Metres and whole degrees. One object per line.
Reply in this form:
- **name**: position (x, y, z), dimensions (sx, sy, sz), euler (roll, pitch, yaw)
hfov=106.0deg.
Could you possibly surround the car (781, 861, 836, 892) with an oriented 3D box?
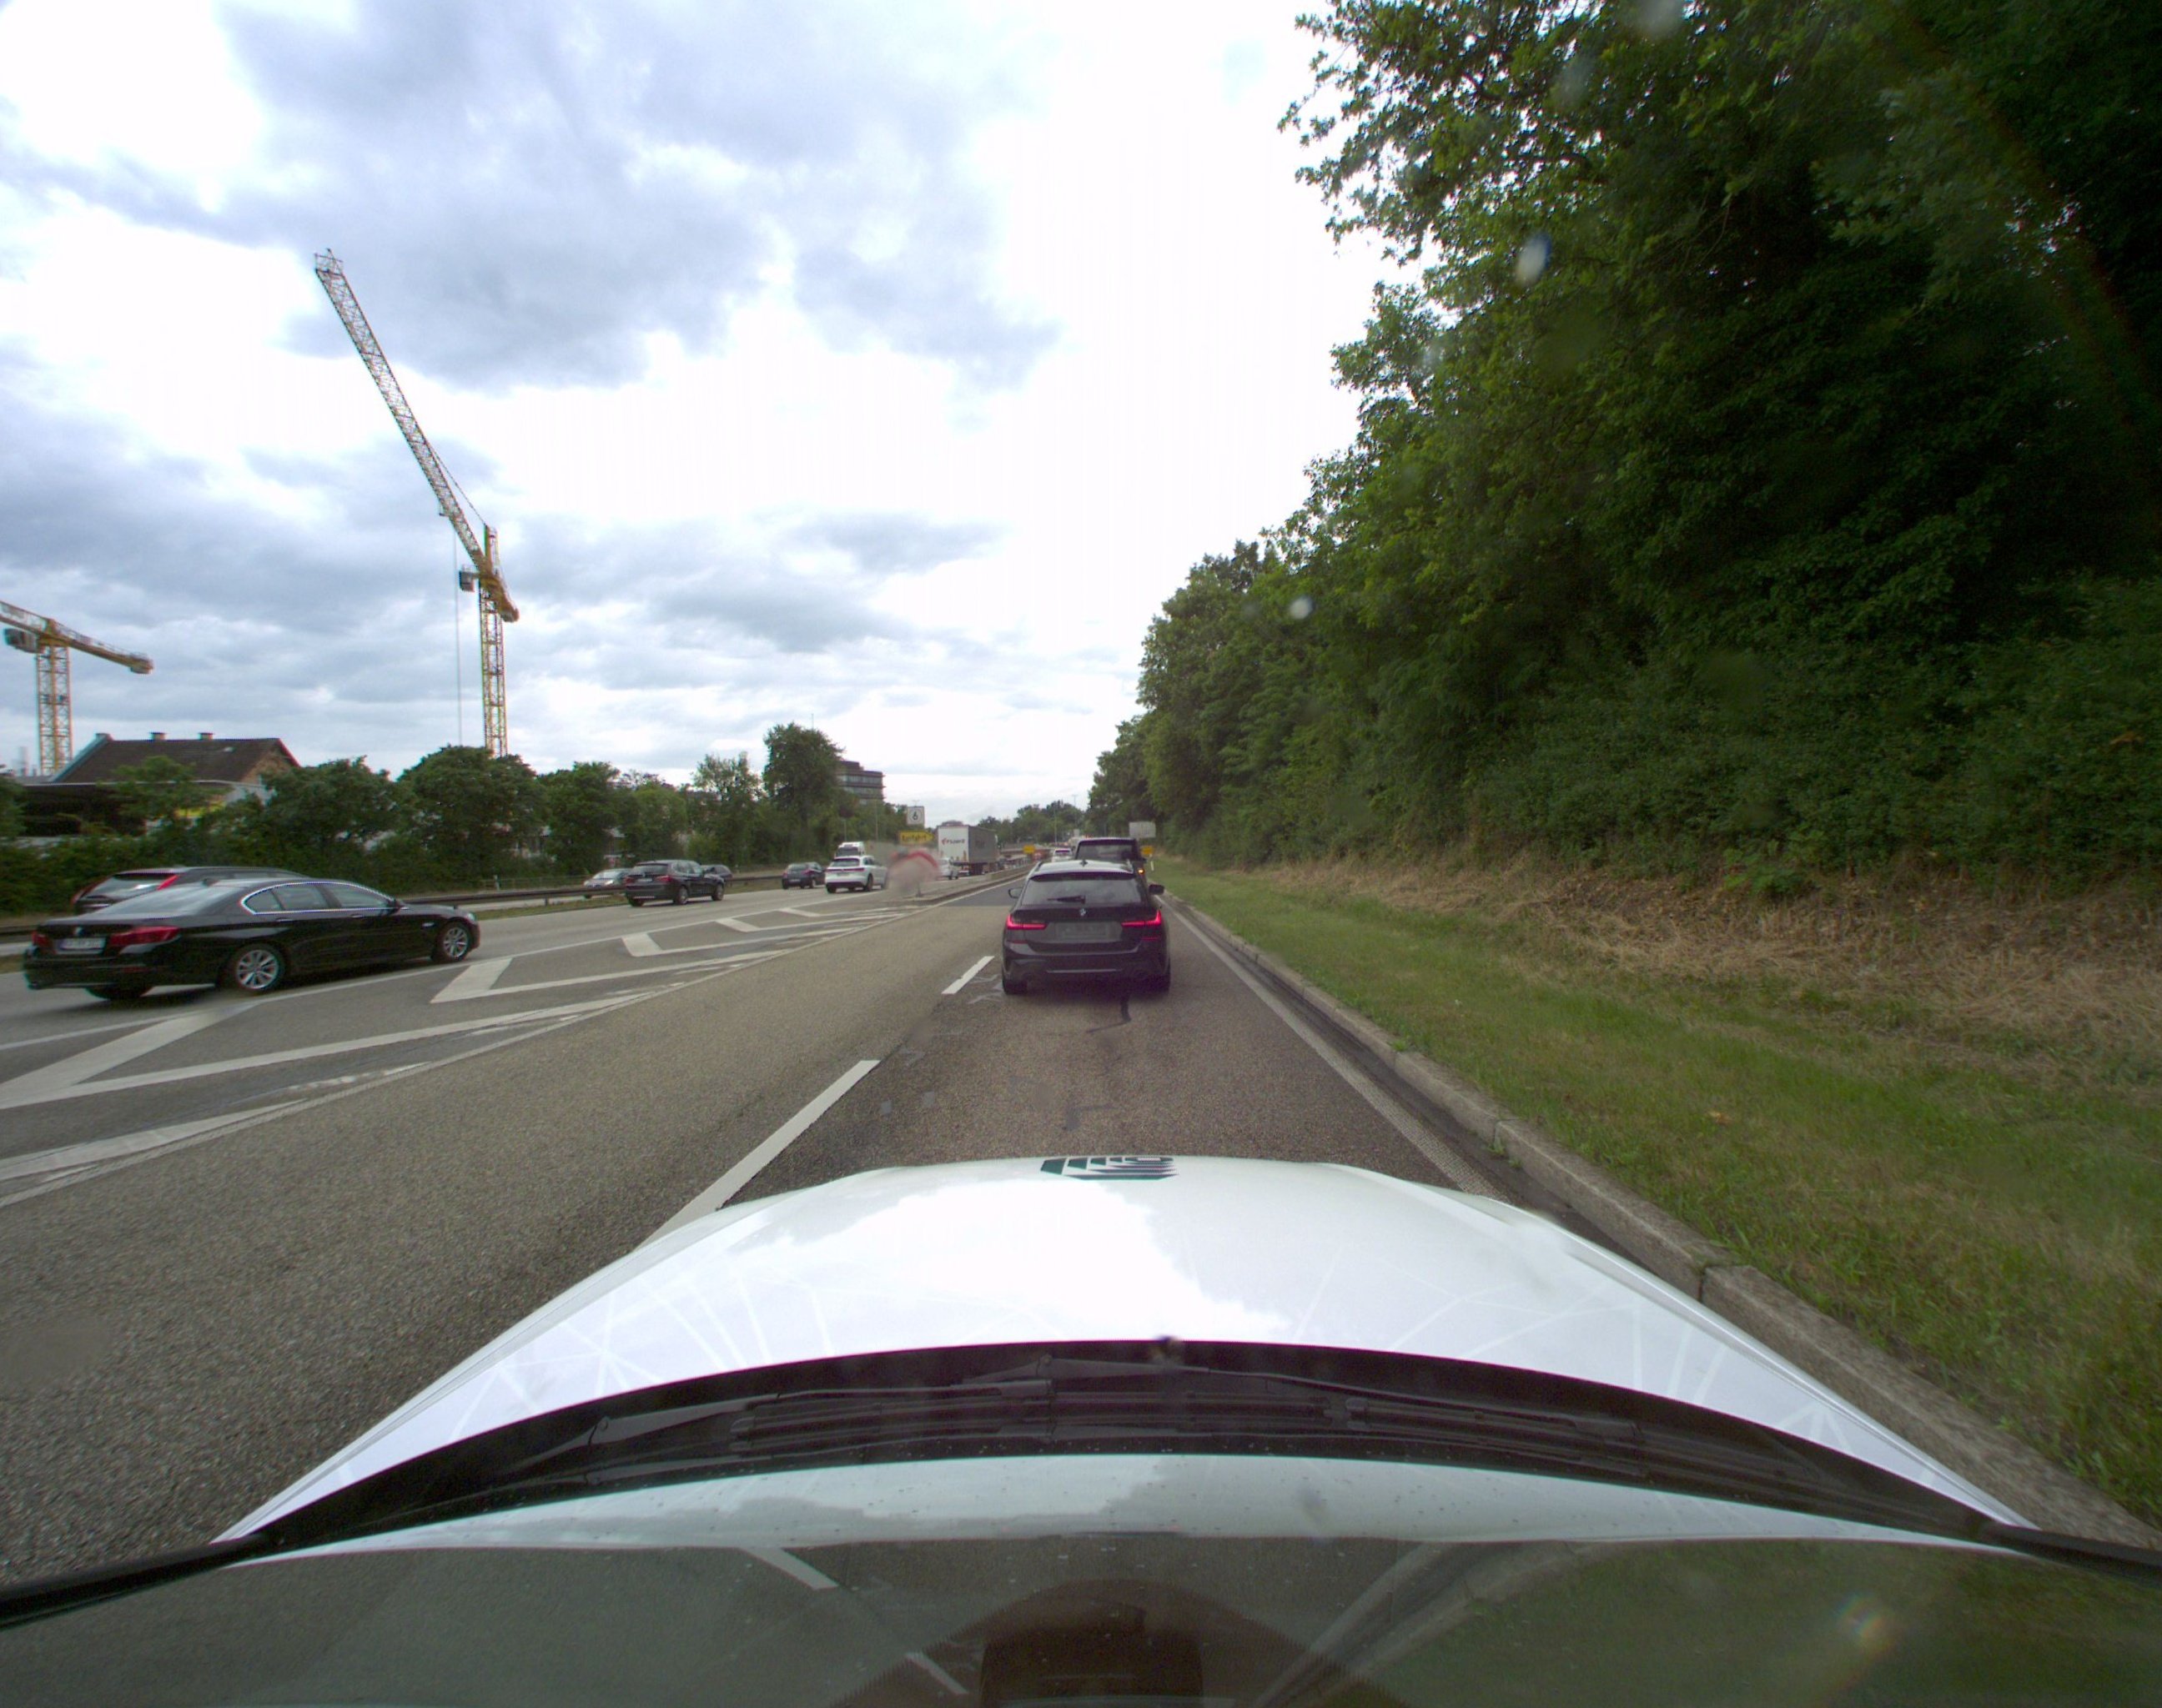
- **car**: position (-15.156, 1.209, 45.474), dimensions (1.682, 1.608, 4.008), euler (-1, 0, 1)

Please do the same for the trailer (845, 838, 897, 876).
- **trailer**: position (-24.529, 0.300, 96.115), dimensions (2.389, 4.029, 13.080), euler (-2, 0, 1)

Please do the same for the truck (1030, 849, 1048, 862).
- **truck**: position (-8.872, 0.297, 173.785), dimensions (3.262, 2.509, 7.663), euler (-2, 0, 1)

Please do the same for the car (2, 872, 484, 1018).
- **car**: position (-10.982, 1.057, 11.337), dimensions (1.706, 1.456, 4.670), euler (-1, 0, 3)

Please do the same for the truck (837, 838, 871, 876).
- **truck**: position (-24.662, 0.322, 88.580), dimensions (2.397, 4.020, 4.001), euler (-2, 0, 1)

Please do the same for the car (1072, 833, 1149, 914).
- **car**: position (0.787, 0.463, 21.520), dimensions (1.789, 1.872, 4.002), euler (-2, 0, 2)

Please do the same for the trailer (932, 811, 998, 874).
- **trailer**: position (-9.630, -0.877, 69.805), dimensions (3.121, 4.725, 14.563), euler (-1, 0, 2)

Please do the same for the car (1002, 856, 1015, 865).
- **car**: position (-11.569, 1.058, 129.830), dimensions (1.587, 1.432, 3.064), euler (-2, 0, 3)

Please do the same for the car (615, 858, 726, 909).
- **car**: position (-15.304, 1.047, 30.619), dimensions (1.884, 1.681, 4.307), euler (-2, 0, 1)

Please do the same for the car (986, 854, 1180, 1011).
- **car**: position (0.030, 0.763, 9.906), dimensions (1.840, 1.466, 4.000), euler (-2, 0, 0)

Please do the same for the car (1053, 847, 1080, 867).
- **car**: position (-1.209, 0.237, 68.835), dimensions (1.923, 1.596, 3.880), euler (-2, 0, 3)

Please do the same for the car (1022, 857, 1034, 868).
- **car**: position (-7.612, 1.159, 116.989), dimensions (1.442, 1.490, 3.064), euler (-2, 0, 3)

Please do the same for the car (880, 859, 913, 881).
- **car**: position (-14.576, 1.245, 64.487), dimensions (1.682, 1.632, 3.735), euler (-1, 0, 1)

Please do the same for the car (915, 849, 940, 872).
- **car**: position (-14.110, 0.563, 74.971), dimensions (1.438, 2.044, 3.683), euler (-2, 0, 3)

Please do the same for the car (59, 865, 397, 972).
- **car**: position (-15.655, 1.077, 15.363), dimensions (1.745, 1.635, 4.269), euler (-2, 0, 2)

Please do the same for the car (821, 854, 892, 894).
- **car**: position (-10.466, 0.890, 38.350), dimensions (1.939, 1.692, 4.508), euler (-2, 0, 1)

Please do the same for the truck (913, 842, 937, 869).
- **truck**: position (-23.795, 0.276, 124.384), dimensions (2.586, 3.990, 4.001), euler (-2, 0, 1)

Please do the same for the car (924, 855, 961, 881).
- **car**: position (-9.229, 0.901, 54.325), dimensions (1.763, 1.549, 3.493), euler (-2, 0, 1)

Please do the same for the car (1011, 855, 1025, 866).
- **car**: position (-8.213, 0.879, 106.589), dimensions (1.372, 1.398, 3.064), euler (-2, 0, 3)

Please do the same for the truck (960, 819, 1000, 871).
- **truck**: position (-9.415, -0.854, 76.359), dimensions (3.072, 4.697, 4.233), euler (-1, 0, 1)
